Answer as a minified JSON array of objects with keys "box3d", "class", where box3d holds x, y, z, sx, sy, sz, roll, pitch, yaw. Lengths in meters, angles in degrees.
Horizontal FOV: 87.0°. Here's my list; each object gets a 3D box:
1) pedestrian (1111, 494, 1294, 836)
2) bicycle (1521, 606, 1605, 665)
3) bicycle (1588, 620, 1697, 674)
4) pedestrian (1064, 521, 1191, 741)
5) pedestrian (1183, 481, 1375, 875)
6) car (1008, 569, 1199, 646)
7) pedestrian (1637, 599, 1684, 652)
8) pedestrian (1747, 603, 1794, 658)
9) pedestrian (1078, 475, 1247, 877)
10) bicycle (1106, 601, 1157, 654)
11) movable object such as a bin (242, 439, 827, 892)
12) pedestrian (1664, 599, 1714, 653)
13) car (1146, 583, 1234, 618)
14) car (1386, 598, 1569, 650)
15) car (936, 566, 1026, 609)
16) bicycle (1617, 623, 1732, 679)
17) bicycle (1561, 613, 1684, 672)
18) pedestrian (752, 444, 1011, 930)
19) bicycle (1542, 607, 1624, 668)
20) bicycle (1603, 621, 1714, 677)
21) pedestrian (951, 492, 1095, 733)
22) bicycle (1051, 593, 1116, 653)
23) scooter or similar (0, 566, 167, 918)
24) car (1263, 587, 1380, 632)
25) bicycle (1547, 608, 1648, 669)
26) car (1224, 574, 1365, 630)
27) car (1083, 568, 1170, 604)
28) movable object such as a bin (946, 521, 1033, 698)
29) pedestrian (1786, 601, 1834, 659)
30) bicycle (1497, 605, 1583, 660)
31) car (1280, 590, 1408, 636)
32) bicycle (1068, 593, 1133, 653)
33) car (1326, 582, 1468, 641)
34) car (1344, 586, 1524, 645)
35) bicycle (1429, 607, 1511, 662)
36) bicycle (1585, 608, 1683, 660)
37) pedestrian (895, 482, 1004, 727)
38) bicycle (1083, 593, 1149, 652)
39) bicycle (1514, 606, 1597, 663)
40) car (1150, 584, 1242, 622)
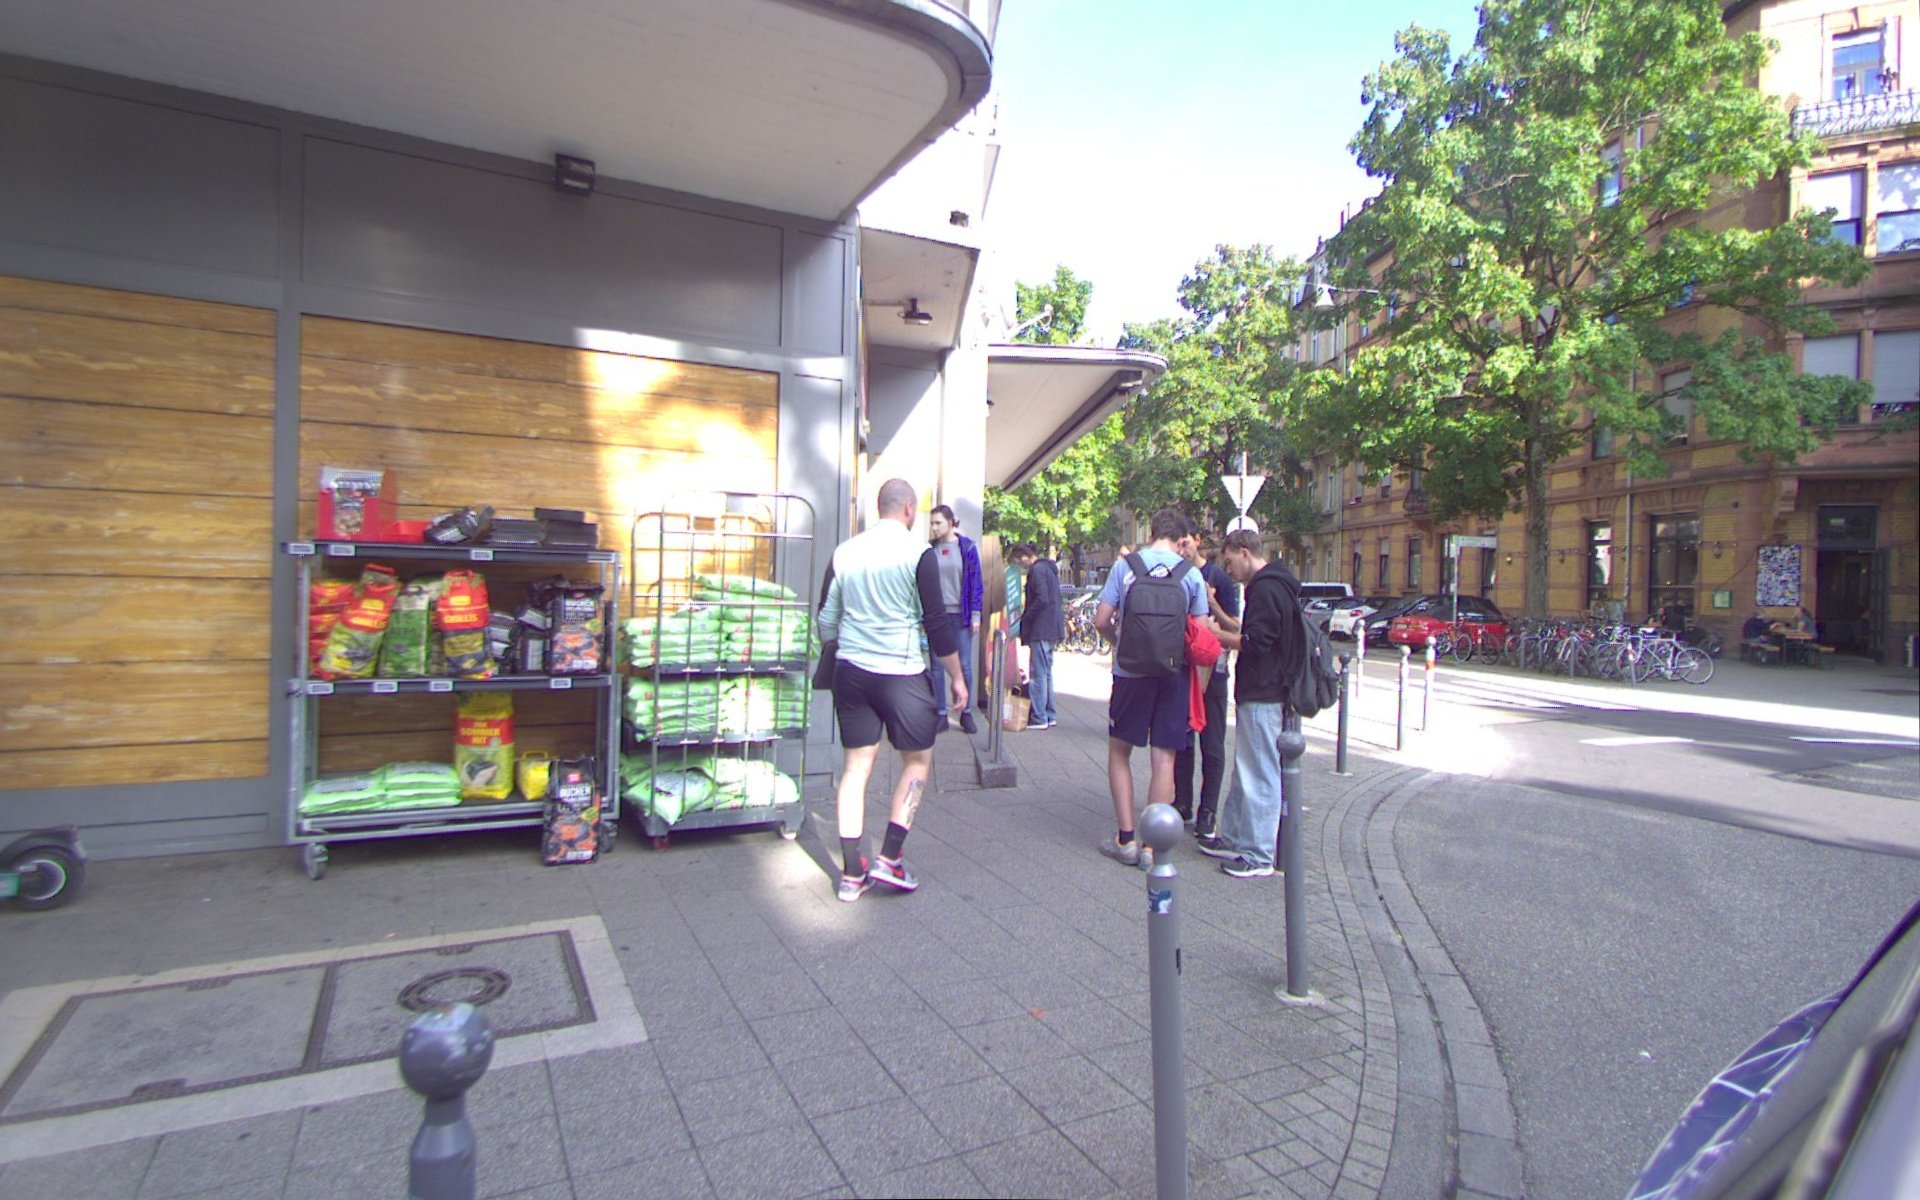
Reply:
[{"box3d":[1.351,0.343,5.740,0.645,1.819,0.657,3,3,-15],"class":"pedestrian"},{"box3d":[13.116,0.764,22.007,1.677,1.216,0.449,0,1,-10],"class":"bicycle"},{"box3d":[13.244,0.907,19.671,1.685,0.999,0.447,0,1,11],"class":"bicycle"},{"box3d":[1.426,0.238,8.652,0.839,1.775,0.605,2,0,41],"class":"pedestrian"},{"box3d":[1.630,0.345,5.154,0.708,1.819,0.626,5,3,28],"class":"pedestrian"},{"box3d":[3.297,0.165,23.483,3.915,1.473,1.815,4,1,-17],"class":"car"},{"box3d":[17.897,0.641,25.857,0.754,1.301,0.630,-1,0,-4],"class":"pedestrian"},{"box3d":[18.573,0.690,23.189,0.630,1.240,0.511,0,2,5],"class":"pedestrian"},{"box3d":[0.972,0.335,5.028,0.621,1.819,0.714,4,3,5],"class":"pedestrian"},{"box3d":[3.585,0.552,21.246,0.404,1.031,1.505,2,1,-16],"class":"bicycle"},{"box3d":[-1.910,0.262,4.840,2.373,1.766,0.783,1,1,-28],"class":"movable object such as a bin"},{"box3d":[18.045,0.640,25.066,0.754,1.301,0.630,-1,0,-4],"class":"pedestrian"},{"box3d":[12.930,0.001,57.046,4.370,1.856,1.939,-1,1,-5],"class":"car"},{"box3d":[13.546,0.606,26.607,4.031,1.286,1.569,-1,0,-4],"class":"car"},{"box3d":[1.200,-0.684,57.755,4.717,2.249,2.149,2,0,-34],"class":"car"},{"box3d":[13.231,0.942,18.774,1.685,0.981,0.447,0,1,11],"class":"bicycle"},{"box3d":[13.161,0.835,20.142,2.013,1.102,0.447,0,1,11],"class":"bicycle"},{"box3d":[-0.295,0.309,4.472,0.872,1.857,1.045,3,2,9],"class":"pedestrian"},{"box3d":[13.208,0.778,21.456,1.676,1.216,0.449,-1,1,-16],"class":"bicycle"},{"box3d":[13.252,0.917,19.229,1.685,0.999,0.447,0,1,11],"class":"bicycle"},{"box3d":[0.590,0.085,9.238,0.856,2.038,1.024,4,1,29],"class":"pedestrian"},{"box3d":[2.517,0.450,20.765,0.412,1.099,1.702,2,2,-26],"class":"bicycle"},{"box3d":[-3.777,0.497,3.744,1.230,1.227,0.635,1,3,-30],"class":"scooter or similar"},{"box3d":[13.183,0.328,37.022,3.637,1.476,1.670,-1,1,-1],"class":"car"},{"box3d":[13.044,0.778,20.751,1.685,1.216,0.447,0,1,11],"class":"bicycle"},{"box3d":[13.059,0.031,39.670,4.813,2.014,2.049,-1,1,-5],"class":"car"},{"box3d":[11.023,-0.902,67.380,5.376,2.229,2.000,1,-1,-2],"class":"car"},{"box3d":[0.290,0.084,11.099,0.677,1.776,1.551,3,1,-5],"class":"movable object such as a bin"},{"box3d":[19.338,0.683,23.034,0.630,1.274,0.511,0,2,5],"class":"pedestrian"},{"box3d":[13.191,0.729,23.034,1.680,1.216,0.448,0,1,2],"class":"bicycle"},{"box3d":[12.993,0.433,34.367,3.637,1.476,1.670,-1,-1,0],"class":"car"},{"box3d":[2.870,0.450,20.860,0.412,1.099,1.702,2,2,-26],"class":"bicycle"},{"box3d":[13.807,0.361,32.128,3.637,1.743,1.861,1,-1,0],"class":"car"},{"box3d":[13.638,0.421,29.324,4.234,1.589,2.005,-1,1,4],"class":"car"},{"box3d":[11.922,0.774,23.766,0.570,1.109,2.502,-2,2,-2],"class":"bicycle"},{"box3d":[15.199,0.768,22.856,1.766,1.127,0.600,0,1,2],"class":"bicycle"},{"box3d":[-0.066,0.025,7.873,0.751,1.775,0.930,2,0,2],"class":"pedestrian"},{"box3d":[3.226,0.458,21.105,0.412,1.099,1.702,2,2,-26],"class":"bicycle"},{"box3d":[13.229,0.755,22.488,1.677,1.216,0.449,0,1,-10],"class":"bicycle"},{"box3d":[12.708,0.145,54.595,4.370,1.856,1.939,-1,1,-5],"class":"car"}]
